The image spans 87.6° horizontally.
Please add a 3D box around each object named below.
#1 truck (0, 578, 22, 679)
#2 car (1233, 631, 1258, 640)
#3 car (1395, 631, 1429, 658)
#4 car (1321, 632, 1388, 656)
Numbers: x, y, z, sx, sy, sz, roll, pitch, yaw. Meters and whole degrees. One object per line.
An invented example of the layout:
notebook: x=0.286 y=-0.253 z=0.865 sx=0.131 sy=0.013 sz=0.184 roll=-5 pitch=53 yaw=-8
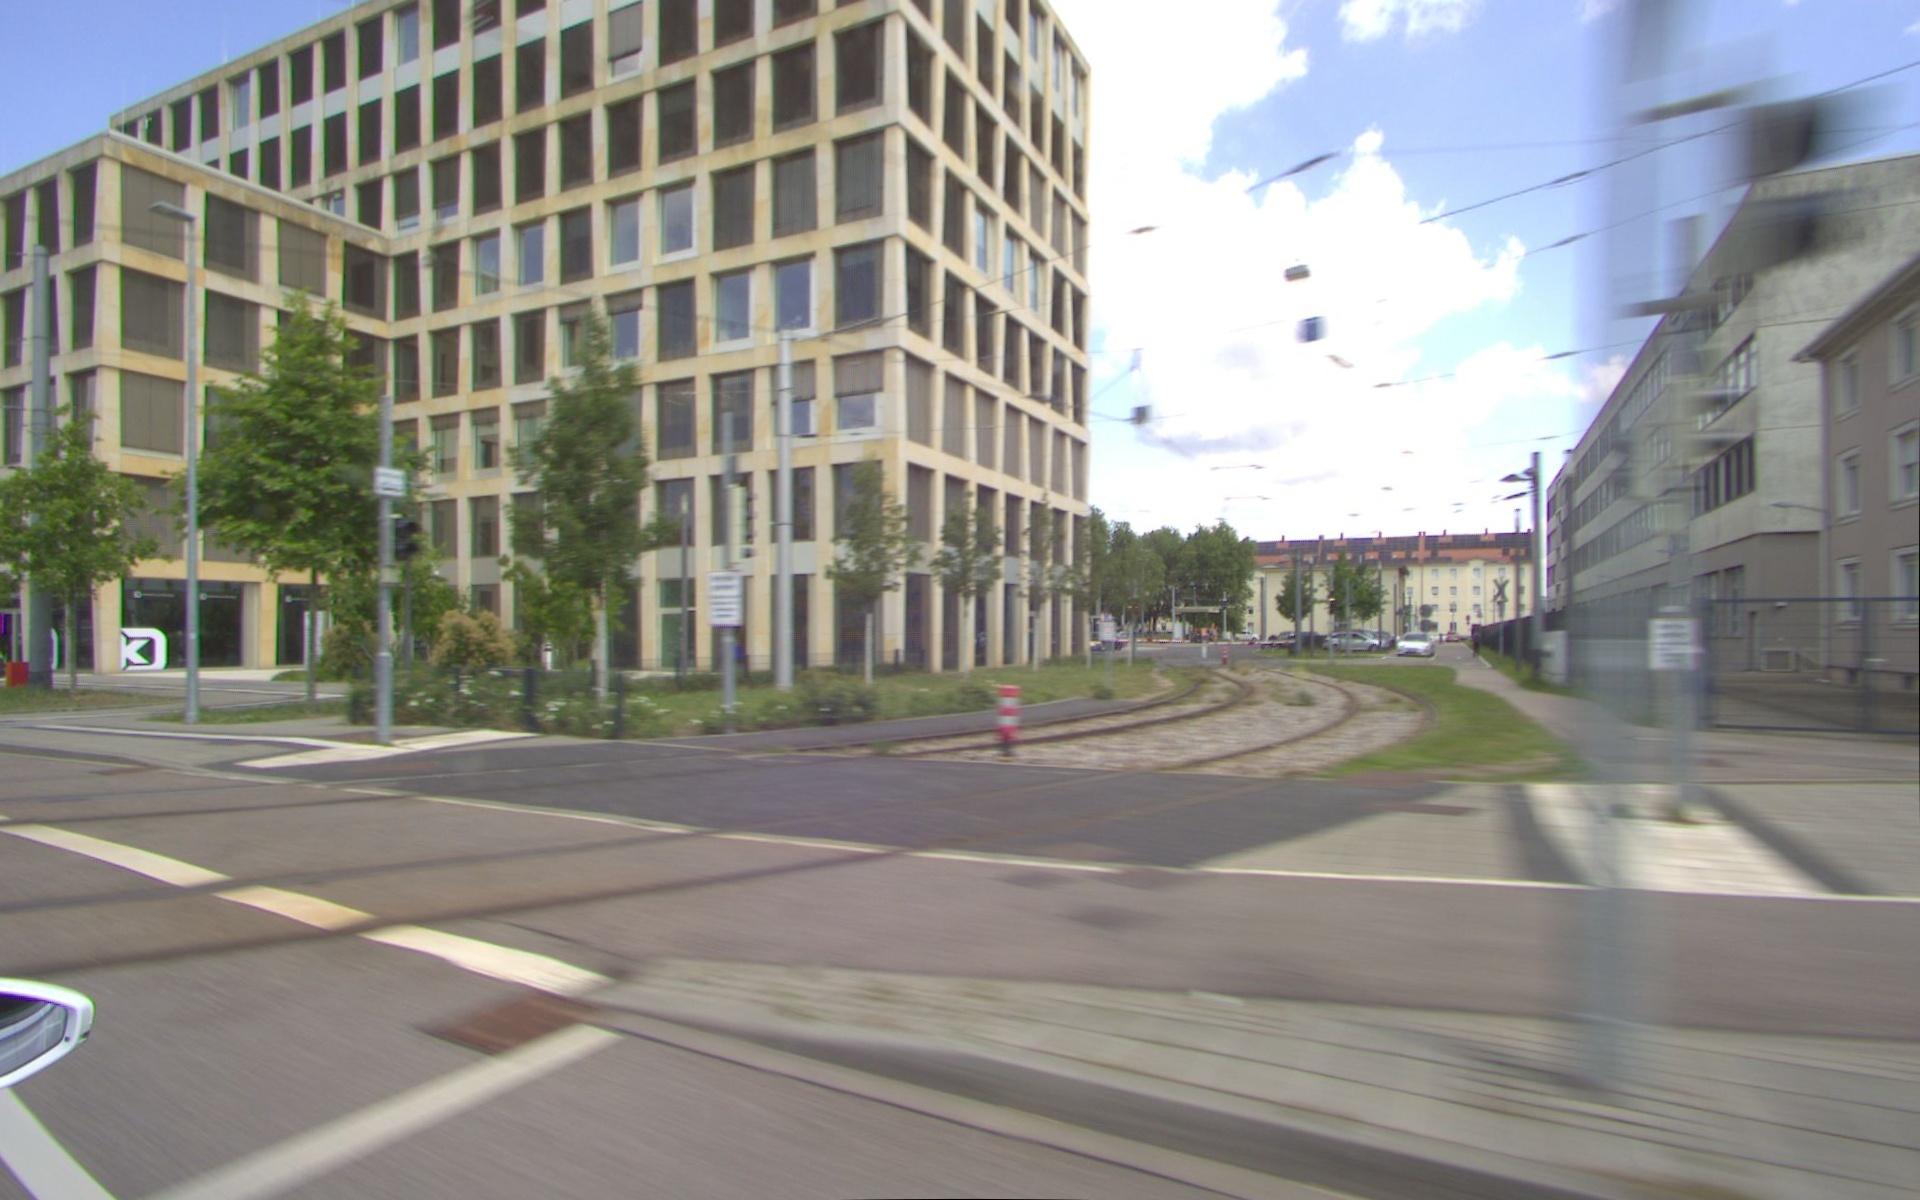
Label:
truck: x=-29.849 y=0.753 z=26.585 sx=2.414 sy=2.903 sz=6.810 roll=-1 pitch=-2 yaw=24
car: x=52.636 y=6.489 z=184.576 sx=3.943 sy=1.672 sz=1.990 roll=0 pitch=-1 yaw=32
car: x=27.483 y=2.703 z=60.799 sx=1.779 sy=1.587 sz=4.020 roll=-1 pitch=-3 yaw=25
car: x=26.477 y=2.967 z=67.208 sx=3.971 sy=1.587 sz=1.801 roll=-1 pitch=-3 yaw=29
